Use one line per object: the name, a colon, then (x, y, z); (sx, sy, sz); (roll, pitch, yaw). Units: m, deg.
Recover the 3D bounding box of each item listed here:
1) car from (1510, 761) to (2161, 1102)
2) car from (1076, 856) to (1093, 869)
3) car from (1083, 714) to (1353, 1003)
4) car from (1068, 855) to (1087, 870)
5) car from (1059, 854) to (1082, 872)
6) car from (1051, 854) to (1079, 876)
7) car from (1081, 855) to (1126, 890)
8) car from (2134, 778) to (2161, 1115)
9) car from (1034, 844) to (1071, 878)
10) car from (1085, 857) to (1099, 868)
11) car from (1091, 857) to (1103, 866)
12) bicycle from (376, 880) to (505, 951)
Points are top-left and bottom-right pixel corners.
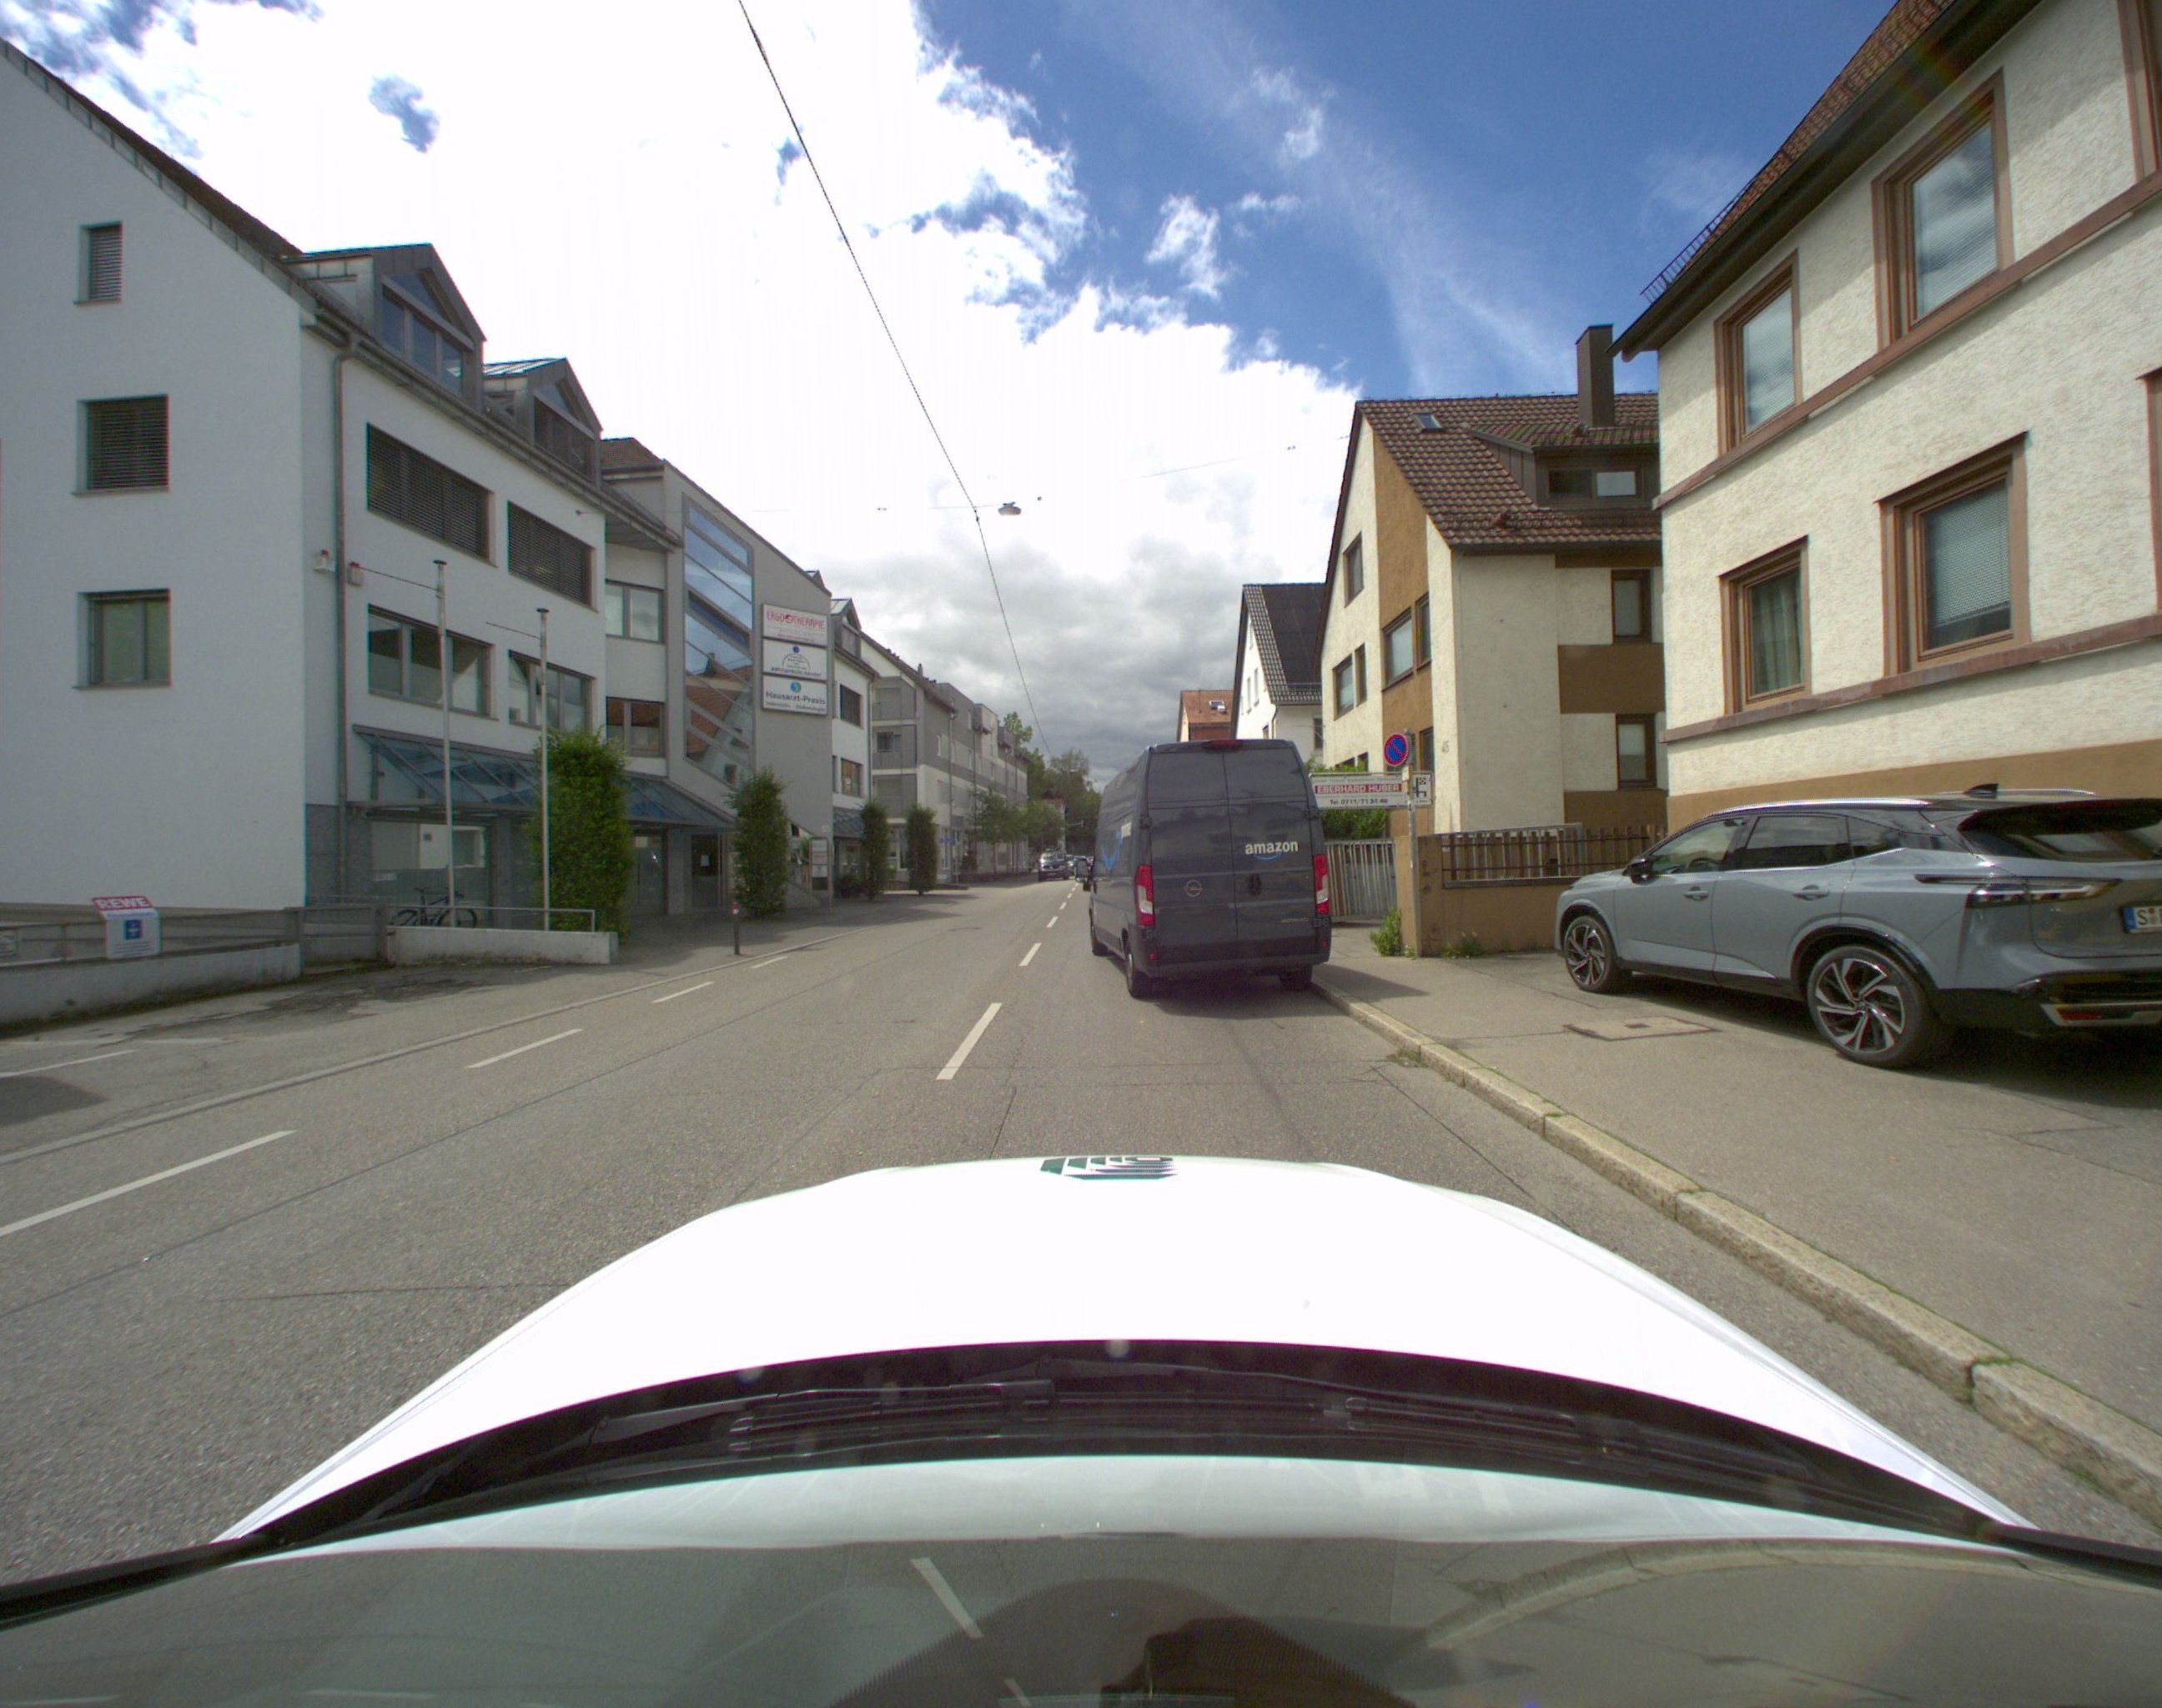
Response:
car: (5.430, 0.344, 6.241); (1.854, 1.612, 4.586); (-3, 0, 1)
car: (0.504, 1.065, 105.480); (2.098, 1.596, 4.650); (-2, 0, 1)
car: (1.377, 0.043, 10.841); (2.248, 2.795, 5.561); (-2, 0, -4)
car: (-0.334, 0.945, 93.735); (2.098, 1.596, 4.650); (-2, 0, 1)
car: (-0.961, 0.828, 77.934); (2.098, 1.596, 4.650); (-2, 0, 1)
car: (-1.284, 0.914, 67.246); (2.098, 1.709, 4.765); (-2, 0, 1)
car: (1.086, 0.805, 37.318); (1.888, 1.453, 3.973); (-1, 0, 4)
car: (5.583, 0.438, 1.449); (1.871, 1.447, 4.306); (-2, 2, -1)
car: (-1.876, 0.465, 54.982); (2.098, 2.121, 4.765); (-4, 0, 1)
car: (1.748, 1.338, 128.301); (2.098, 1.596, 4.650); (-2, 0, 1)
car: (2.828, 1.336, 146.255); (2.098, 1.596, 4.650); (-2, 0, 1)
bicycle: (-11.395, 1.055, 14.597); (0.628, 1.095, 2.004); (-2, 0, 3)
